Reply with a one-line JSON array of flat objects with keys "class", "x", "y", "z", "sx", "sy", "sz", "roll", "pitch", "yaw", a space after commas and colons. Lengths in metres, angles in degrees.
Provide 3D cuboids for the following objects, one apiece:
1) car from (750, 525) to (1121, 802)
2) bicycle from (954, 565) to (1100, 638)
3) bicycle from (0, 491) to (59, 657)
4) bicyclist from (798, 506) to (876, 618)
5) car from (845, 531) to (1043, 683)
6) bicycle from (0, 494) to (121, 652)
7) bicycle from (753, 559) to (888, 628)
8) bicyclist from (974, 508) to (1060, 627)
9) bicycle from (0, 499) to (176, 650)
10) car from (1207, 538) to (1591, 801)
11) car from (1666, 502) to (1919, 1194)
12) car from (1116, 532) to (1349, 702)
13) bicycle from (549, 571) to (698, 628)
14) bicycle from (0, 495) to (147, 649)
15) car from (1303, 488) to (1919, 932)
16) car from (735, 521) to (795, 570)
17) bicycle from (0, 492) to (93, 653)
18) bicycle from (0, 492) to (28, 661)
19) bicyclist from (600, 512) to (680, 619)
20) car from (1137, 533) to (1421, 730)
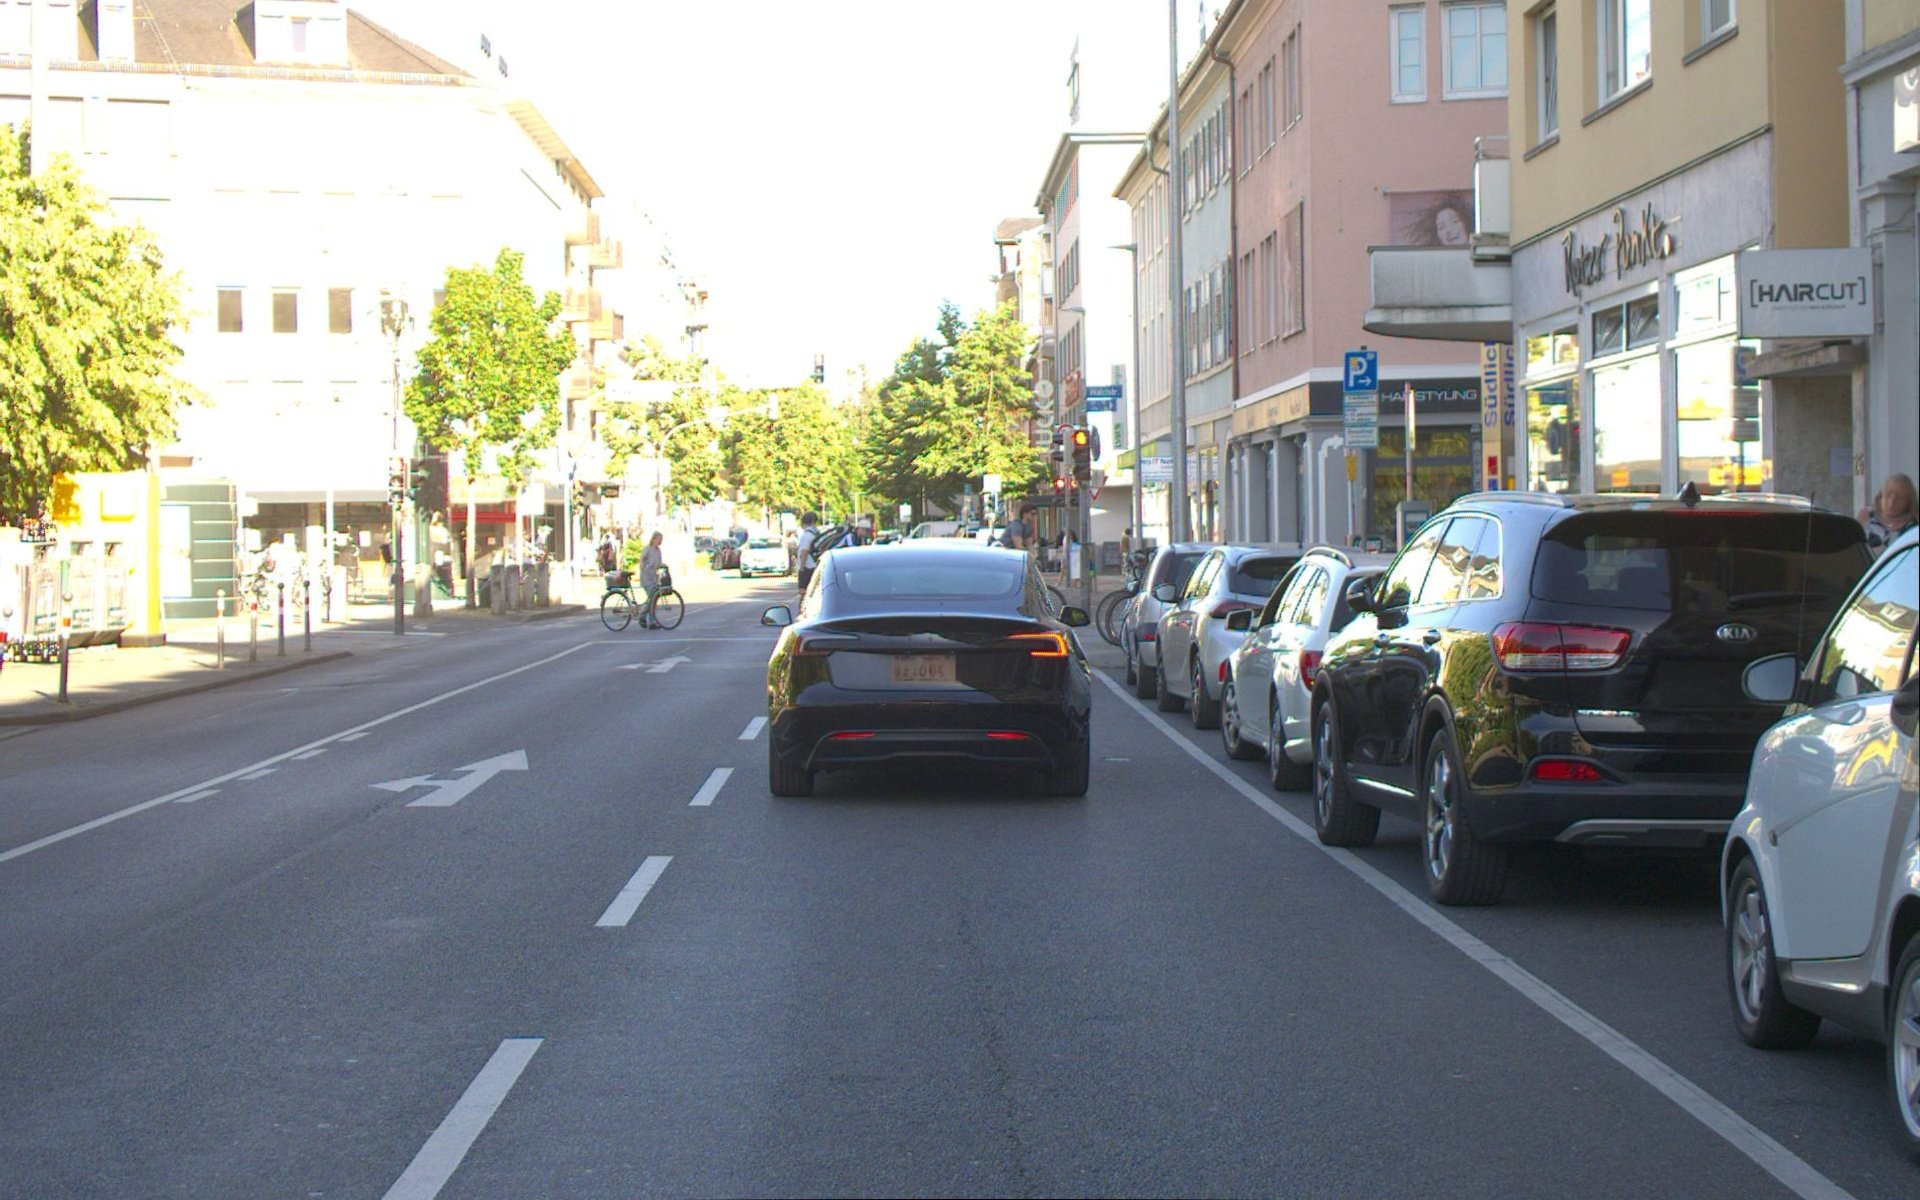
[{"class": "car", "x": -0.210, "y": 0.340, "z": 20.887, "sx": 1.995, "sy": 1.475, "sz": 4.495, "roll": 1, "pitch": 0, "yaw": -2}, {"class": "bicycle", "x": 0.948, "y": 0.011, "z": 49.100, "sx": 2.011, "sy": 1.018, "sz": 0.888, "roll": 0, "pitch": 1, "yaw": -4}, {"class": "bicycle", "x": -12.749, "y": -0.324, "z": 42.288, "sx": 3.122, "sy": 2.007, "sz": 0.908, "roll": 0, "pitch": 1, "yaw": 8}, {"class": "bicyclist", "x": -1.859, "y": -0.579, "z": 51.936, "sx": 1.146, "sy": 1.680, "sz": 0.819, "roll": 0, "pitch": 1, "yaw": -4}, {"class": "car", "x": -0.128, "y": 0.027, "z": 35.769, "sx": 1.935, "sy": 1.482, "sz": 4.271, "roll": 0, "pitch": 1, "yaw": 1}, {"class": "bicycle", "x": -12.513, "y": -0.355, "z": 44.419, "sx": 3.122, "sy": 2.007, "sz": 0.908, "roll": 0, "pitch": 1, "yaw": 8}, {"class": "bicycle", "x": -2.113, "y": -0.107, "z": 51.924, "sx": 2.011, "sy": 1.018, "sz": 0.762, "roll": 0, "pitch": 1, "yaw": -4}, {"class": "bicyclist", "x": 0.808, "y": -0.470, "z": 49.097, "sx": 1.146, "sy": 1.680, "sz": 0.919, "roll": 0, "pitch": 1, "yaw": -4}, {"class": "bicycle", "x": -12.274, "y": -0.356, "z": 46.502, "sx": 3.122, "sy": 2.007, "sz": 0.908, "roll": 0, "pitch": 1, "yaw": 8}, {"class": "car", "x": 2.615, "y": 0.388, "z": 21.365, "sx": 1.792, "sy": 1.455, "sz": 4.084, "roll": 1, "pitch": 0, "yaw": -1}, {"class": "car", "x": 2.959, "y": 0.528, "z": 8.998, "sx": 1.613, "sy": 1.541, "sz": 2.855, "roll": 1, "pitch": 1, "yaw": 0}, {"class": "car", "x": 2.473, "y": 0.144, "z": 32.012, "sx": 1.792, "sy": 1.455, "sz": 3.868, "roll": 1, "pitch": 0, "yaw": -1}, {"class": "bicycle", "x": -5.330, "y": -0.006, "z": 54.561, "sx": 2.244, "sy": 0.880, "sz": 0.923, "roll": 0, "pitch": 1, "yaw": 3}, {"class": "bicycle", "x": -12.416, "y": -0.381, "z": 45.457, "sx": 3.122, "sy": 2.007, "sz": 0.908, "roll": 0, "pitch": 1, "yaw": 8}, {"class": "car", "x": 2.643, "y": 0.407, "z": 14.822, "sx": 1.716, "sy": 1.630, "sz": 4.085, "roll": 1, "pitch": 0, "yaw": -3}, {"class": "car", "x": -7.345, "y": -2.063, "z": 129.802, "sx": 1.993, "sy": 1.765, "sz": 4.000, "roll": 1, "pitch": 2, "yaw": 0}, {"class": "bicycle", "x": -12.597, "y": -0.356, "z": 43.335, "sx": 3.122, "sy": 2.007, "sz": 0.908, "roll": 0, "pitch": 1, "yaw": 8}, {"class": "bicycle", "x": -12.874, "y": -0.293, "z": 41.296, "sx": 3.122, "sy": 2.007, "sz": 0.908, "roll": 0, "pitch": 1, "yaw": 8}, {"class": "bicyclist", "x": -5.078, "y": -0.559, "z": 54.554, "sx": 1.146, "sy": 1.680, "sz": 0.915, "roll": 0, "pitch": 1, "yaw": 3}, {"class": "car", "x": 2.499, "y": 0.232, "z": 27.784, "sx": 1.792, "sy": 1.455, "sz": 3.868, "roll": 1, "pitch": 0, "yaw": -2}]
